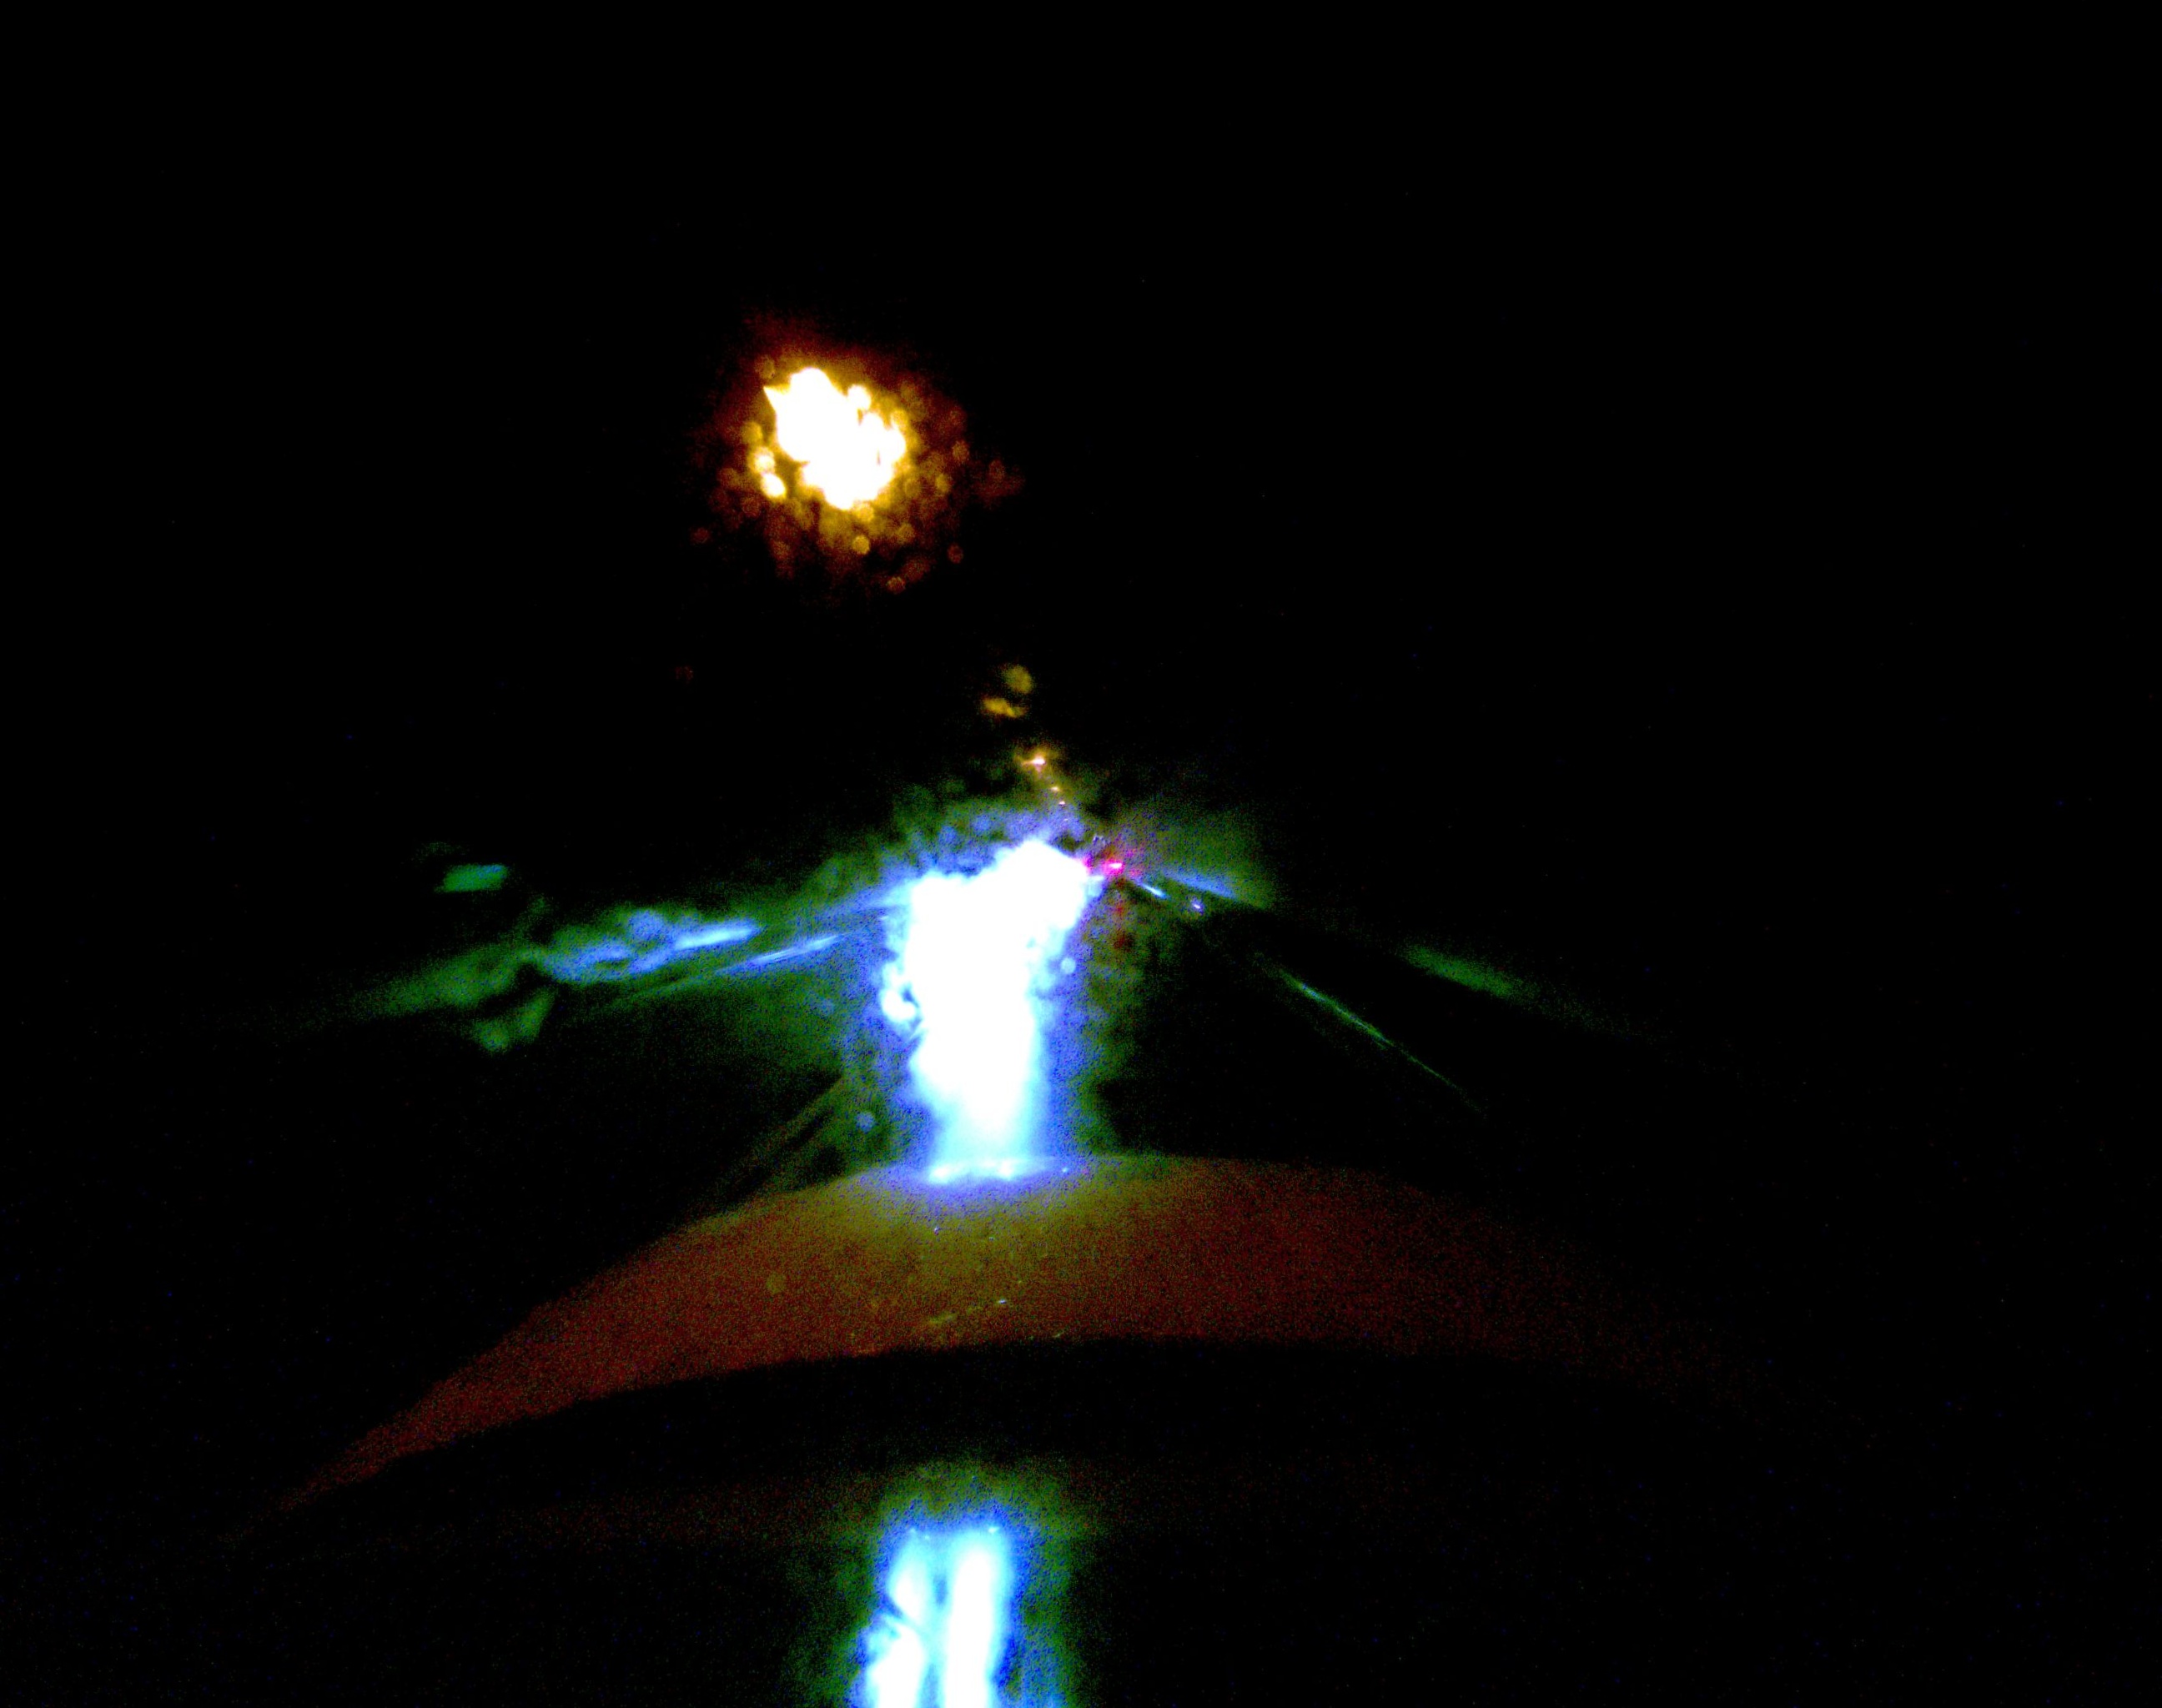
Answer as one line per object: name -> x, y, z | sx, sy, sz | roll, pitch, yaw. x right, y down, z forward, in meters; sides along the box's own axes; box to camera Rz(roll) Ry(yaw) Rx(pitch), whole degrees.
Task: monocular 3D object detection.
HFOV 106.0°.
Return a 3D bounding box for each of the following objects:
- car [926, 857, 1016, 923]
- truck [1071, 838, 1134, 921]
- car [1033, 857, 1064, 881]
car -> -2.765, 0.866, 21.278 | 1.654, 1.490, 3.964 | -2, 0, 1
truck -> 0.900, 0.942, 33.451 | 2.253, 3.011, 7.418 | -1, 0, 2
car -> -2.243, 1.033, 57.265 | 1.806, 1.482, 4.202 | -3, 0, 1
